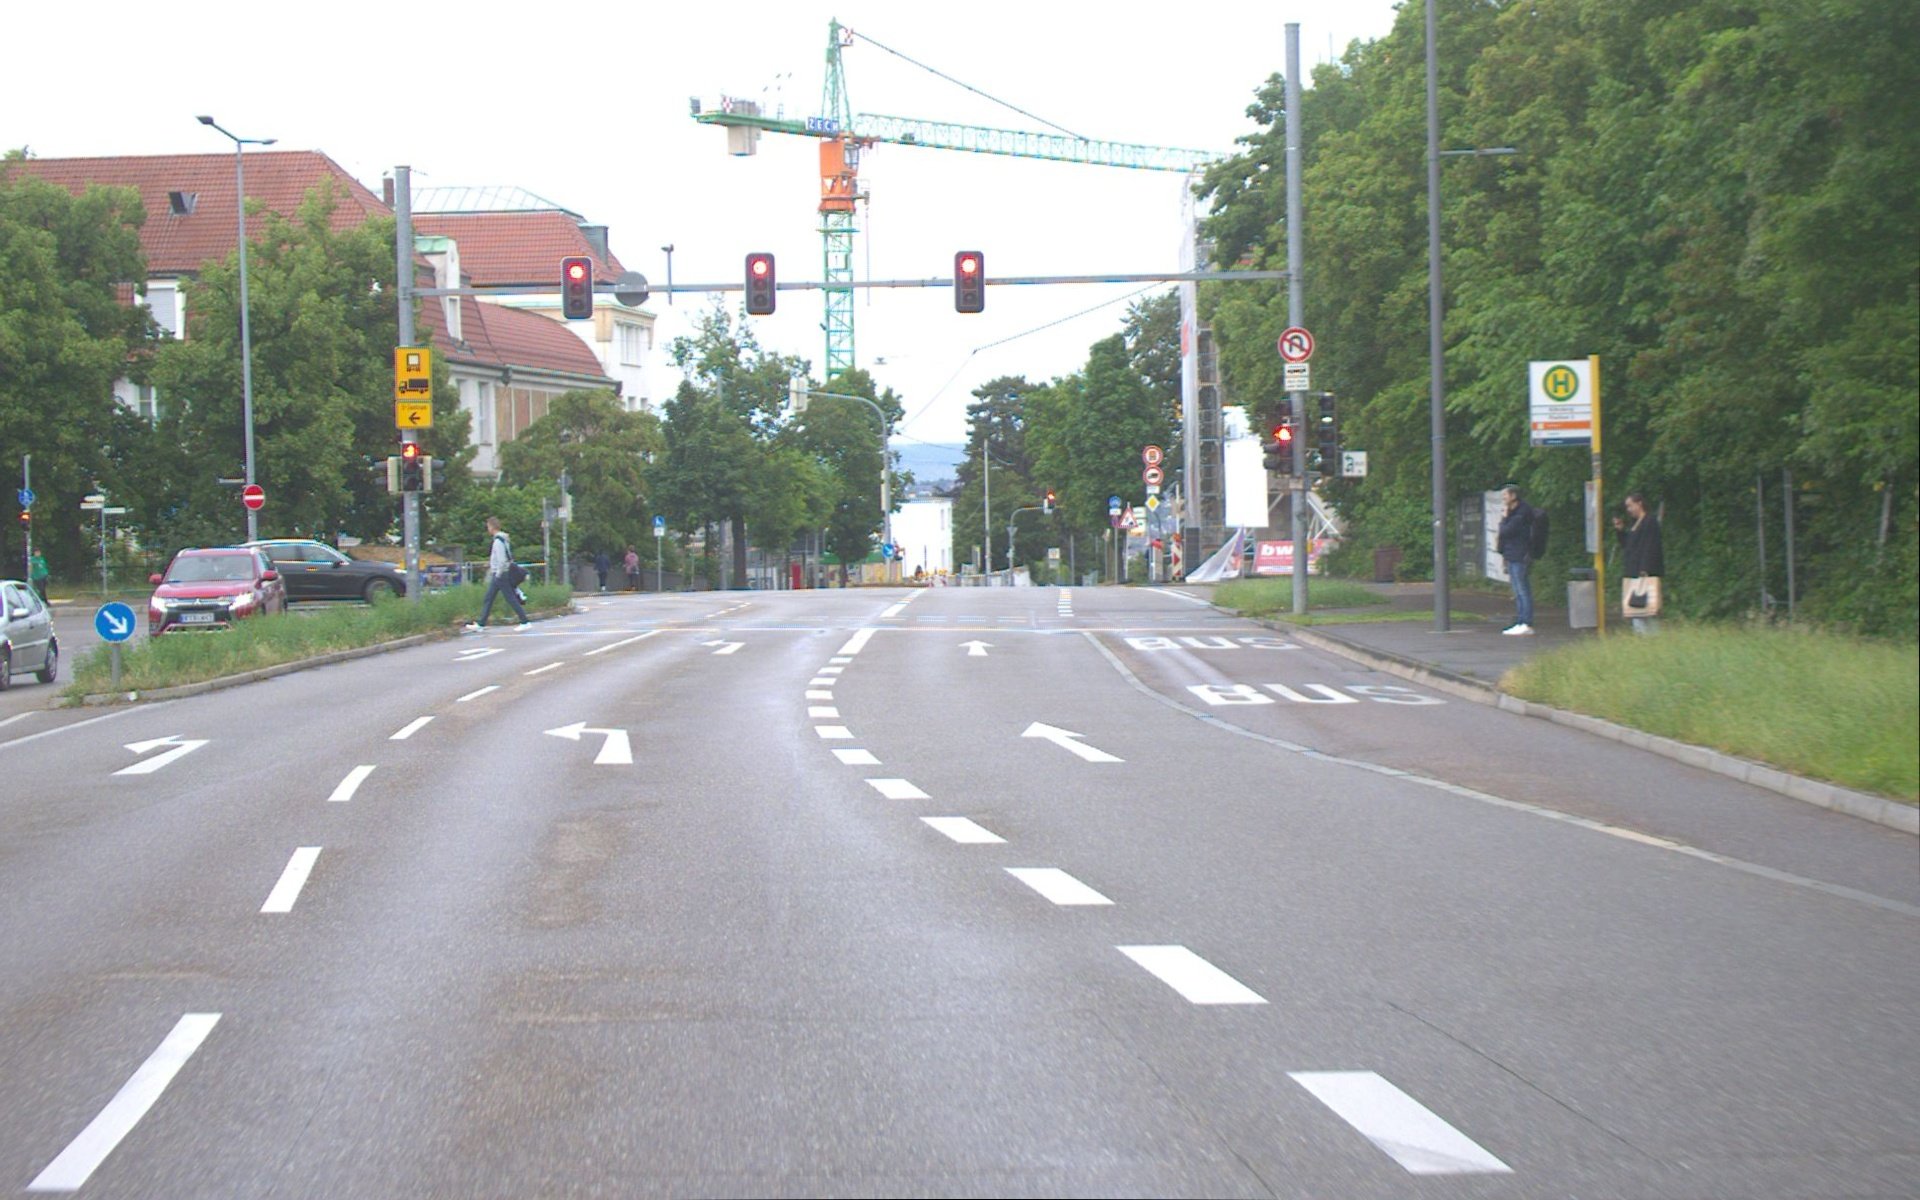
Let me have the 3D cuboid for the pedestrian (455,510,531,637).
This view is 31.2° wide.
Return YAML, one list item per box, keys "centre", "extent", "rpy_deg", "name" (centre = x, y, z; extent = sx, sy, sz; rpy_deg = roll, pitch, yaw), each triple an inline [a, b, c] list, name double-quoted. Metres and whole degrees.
- centre: [-7.624, -0.434, 56.129]
  extent: [0.940, 2.007, 0.847]
  rpy_deg: [-4, 1, 6]
  name: "pedestrian"

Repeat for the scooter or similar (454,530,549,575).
- centre: [-15.452, -1.591, 115.913]
  extent: [3.087, 1.435, 0.949]
  rpy_deg: [-1, 1, -1]
  name: "scooter or similar"

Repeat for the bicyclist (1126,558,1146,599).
- centre: [6.821, -0.833, 133.382]
  extent: [0.720, 1.558, 1.143]
  rpy_deg: [1, 0, 2]
  name: "bicyclist"

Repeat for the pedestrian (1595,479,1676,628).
- centre: [7.635, -0.523, 38.885]
  extent: [0.675, 1.652, 0.793]
  rpy_deg: [-1, 1, -5]
  name: "pedestrian"

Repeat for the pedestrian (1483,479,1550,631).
- centre: [7.025, -0.572, 43.450]
  extent: [0.640, 1.894, 0.718]
  rpy_deg: [-1, 1, -5]
  name: "pedestrian"

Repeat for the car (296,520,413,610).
- centre: [-14.388, -0.806, 81.919]
  extent: [1.944, 2.014, 4.551]
  rpy_deg: [1, -1, 0]
  name: "car"

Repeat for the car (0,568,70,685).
- centre: [-12.726, 0.363, 43.659]
  extent: [1.762, 1.411, 3.879]
  rpy_deg: [-3, 1, 0]
  name: "car"

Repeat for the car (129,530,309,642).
- centre: [-12.216, -0.268, 56.977]
  extent: [1.853, 1.677, 4.738]
  rpy_deg: [-3, 1, 0]
  name: "car"
